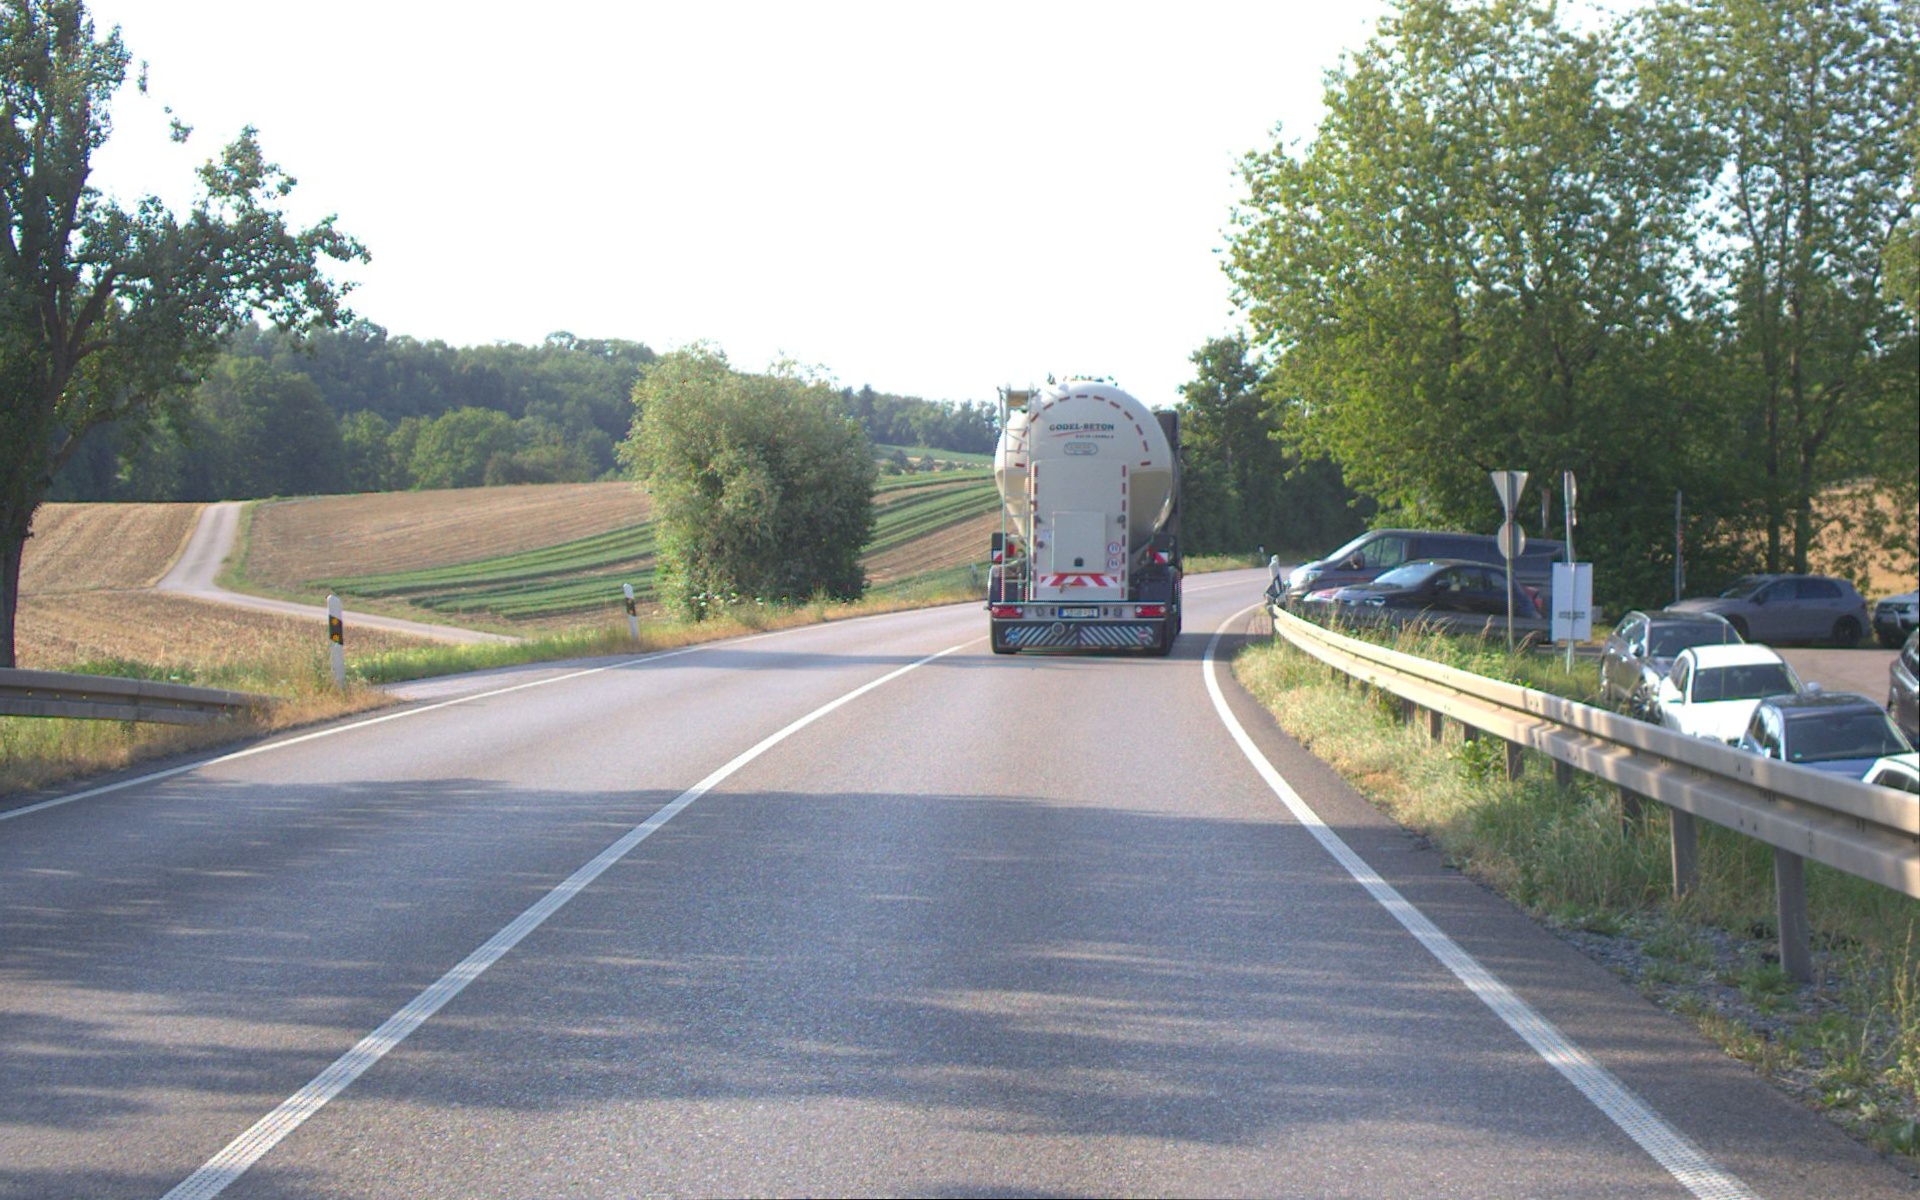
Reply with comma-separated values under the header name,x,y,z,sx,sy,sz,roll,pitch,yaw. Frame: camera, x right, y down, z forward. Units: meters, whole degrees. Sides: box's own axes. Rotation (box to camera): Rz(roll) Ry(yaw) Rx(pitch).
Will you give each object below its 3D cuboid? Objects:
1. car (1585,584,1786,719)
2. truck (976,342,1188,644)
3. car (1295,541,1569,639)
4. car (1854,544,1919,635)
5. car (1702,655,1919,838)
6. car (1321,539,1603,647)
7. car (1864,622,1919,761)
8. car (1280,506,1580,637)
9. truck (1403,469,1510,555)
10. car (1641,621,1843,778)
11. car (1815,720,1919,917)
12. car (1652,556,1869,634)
name,x,y,z,sx,sy,sz,roll,pitch,yaw
car,10.583,0.712,50.457,1.892,1.554,4.783,-4,3,1
truck,2.048,-1.600,53.558,2.893,4.128,13.171,0,1,3
car,8.117,-0.164,59.096,4.310,1.395,1.721,3,2,-24
car,20.326,-0.272,69.355,4.203,1.741,1.812,-2,2,-23
car,10.039,1.642,39.936,1.892,1.554,4.783,-4,3,2
car,8.273,-0.116,56.577,4.310,1.504,1.721,3,2,-27
car,13.067,1.173,43.762,1.892,1.669,4.782,-1,1,1
car,8.575,-0.544,63.075,5.140,1.937,1.975,5,2,2
truck,25.655,-4.614,177.058,3.186,4.213,13.161,-1,2,18
car,10.198,1.256,45.154,1.892,1.554,4.782,-3,3,5
car,10.104,2.172,33.944,1.892,1.554,4.784,-4,3,-2
car,15.643,-0.094,67.200,3.717,1.436,1.812,1,1,-22
